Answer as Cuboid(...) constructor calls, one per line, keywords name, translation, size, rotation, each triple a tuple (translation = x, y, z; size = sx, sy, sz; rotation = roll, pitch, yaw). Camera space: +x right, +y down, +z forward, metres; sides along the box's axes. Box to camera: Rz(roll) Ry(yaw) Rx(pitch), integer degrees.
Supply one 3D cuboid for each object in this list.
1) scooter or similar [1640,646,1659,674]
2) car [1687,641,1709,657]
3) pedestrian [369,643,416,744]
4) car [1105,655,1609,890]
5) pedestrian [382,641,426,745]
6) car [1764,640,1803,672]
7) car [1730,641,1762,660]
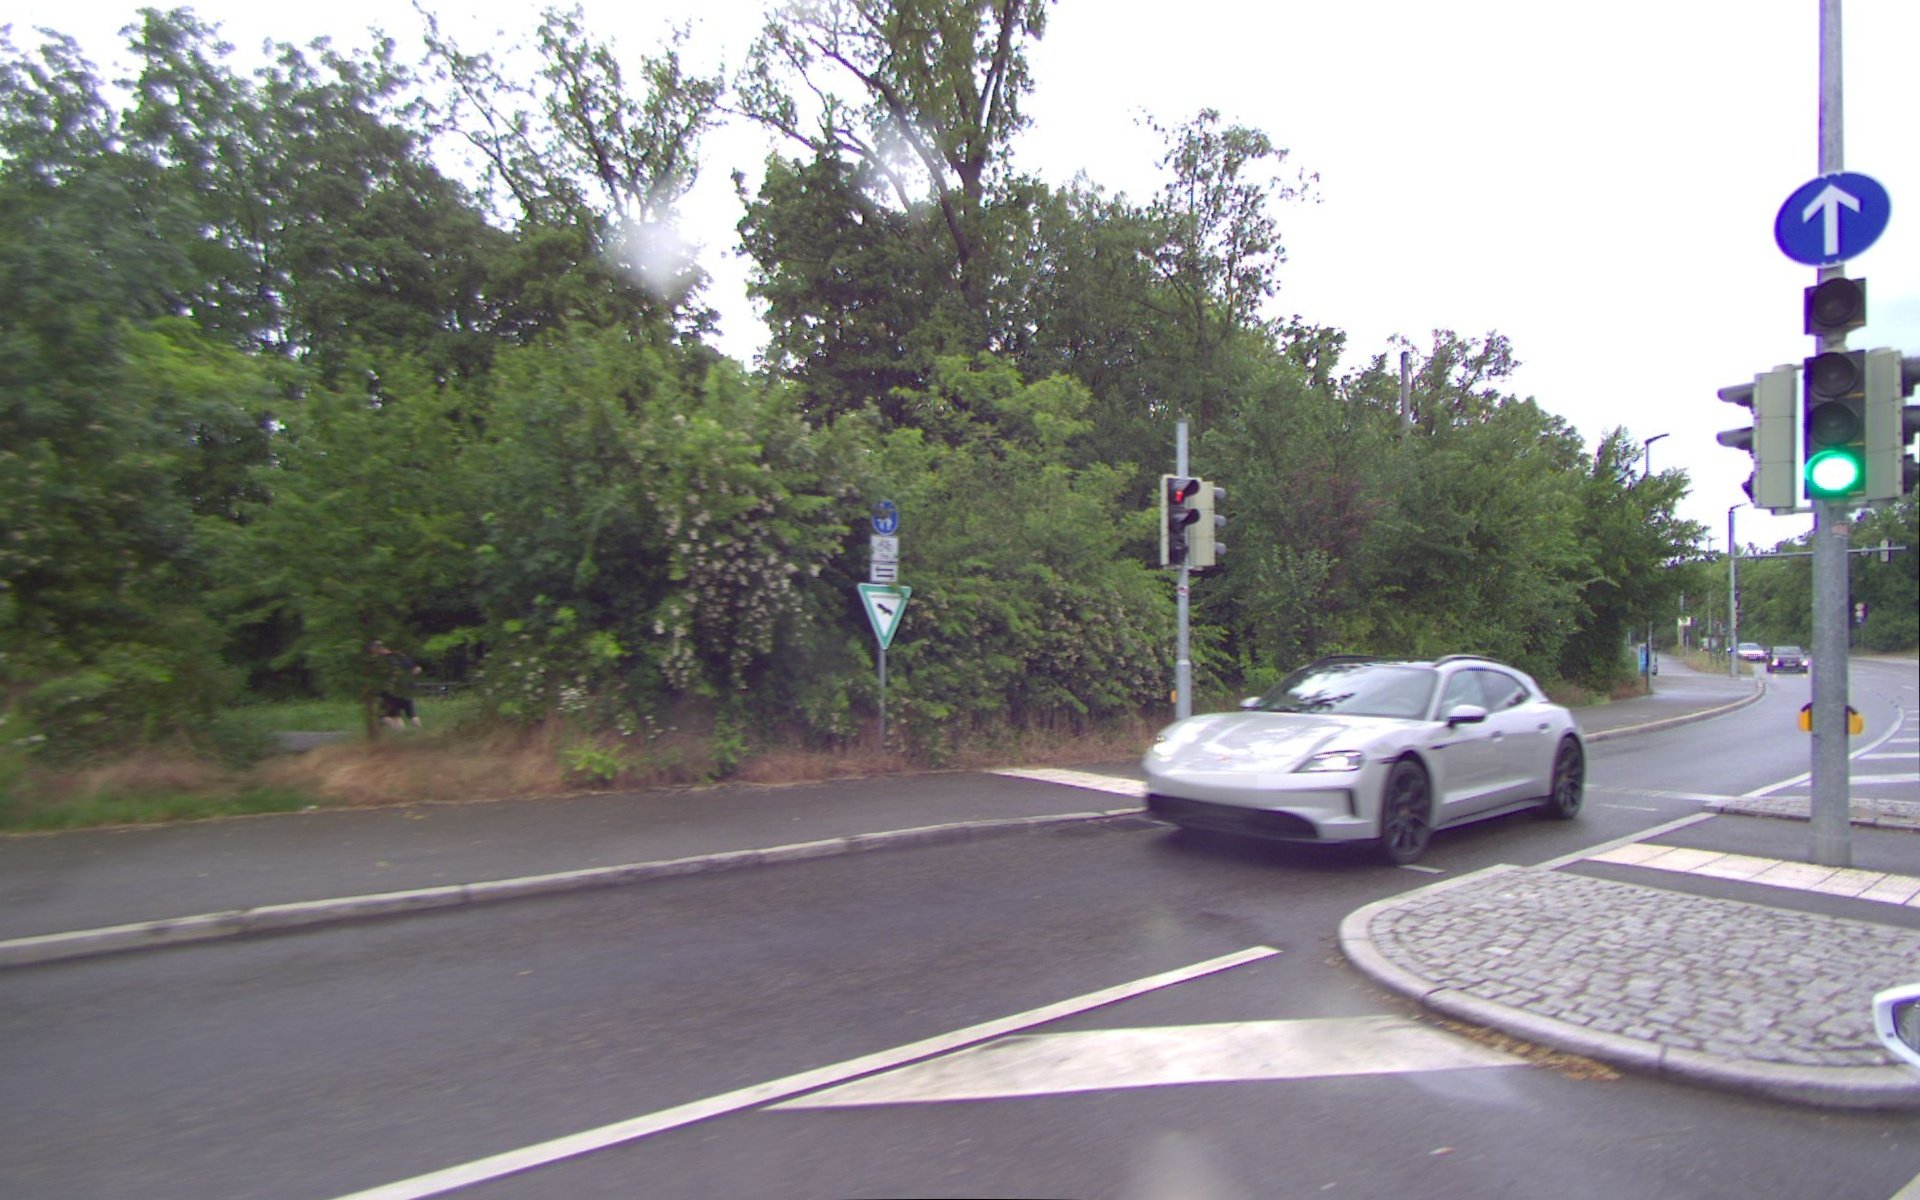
Cuboid(name="scooter or similar", translation=(31.295, 2.720, 45.561), size=(0.512, 1.228, 1.461), rotation=(-1, -2, 42))
Cuboid(name="car", translation=(75.797, 4.993, 103.171), size=(1.766, 1.602, 4.546), rotation=(-2, -3, 36))
Cuboid(name="pedestrian", translation=(-8.787, 1.434, 15.560), size=(0.601, 1.522, 0.462), rotation=(2, -2, -30))
Cuboid(name="car", translation=(3.464, 1.171, 8.340), size=(4.565, 1.394, 1.925), rotation=(2, -4, -39))
Cuboid(name="pedestrian", translation=(-9.115, 1.503, 16.469), size=(0.601, 1.654, 0.462), rotation=(1, -2, -30))
Cuboid(name="car", translation=(45.836, 3.096, 55.964), size=(1.557, 1.753, 3.759), rotation=(-3, -4, 38))
Cuboid(name="car", translation=(58.500, 3.749, 74.786), size=(1.719, 1.369, 4.194), rotation=(-3, -3, 37))
